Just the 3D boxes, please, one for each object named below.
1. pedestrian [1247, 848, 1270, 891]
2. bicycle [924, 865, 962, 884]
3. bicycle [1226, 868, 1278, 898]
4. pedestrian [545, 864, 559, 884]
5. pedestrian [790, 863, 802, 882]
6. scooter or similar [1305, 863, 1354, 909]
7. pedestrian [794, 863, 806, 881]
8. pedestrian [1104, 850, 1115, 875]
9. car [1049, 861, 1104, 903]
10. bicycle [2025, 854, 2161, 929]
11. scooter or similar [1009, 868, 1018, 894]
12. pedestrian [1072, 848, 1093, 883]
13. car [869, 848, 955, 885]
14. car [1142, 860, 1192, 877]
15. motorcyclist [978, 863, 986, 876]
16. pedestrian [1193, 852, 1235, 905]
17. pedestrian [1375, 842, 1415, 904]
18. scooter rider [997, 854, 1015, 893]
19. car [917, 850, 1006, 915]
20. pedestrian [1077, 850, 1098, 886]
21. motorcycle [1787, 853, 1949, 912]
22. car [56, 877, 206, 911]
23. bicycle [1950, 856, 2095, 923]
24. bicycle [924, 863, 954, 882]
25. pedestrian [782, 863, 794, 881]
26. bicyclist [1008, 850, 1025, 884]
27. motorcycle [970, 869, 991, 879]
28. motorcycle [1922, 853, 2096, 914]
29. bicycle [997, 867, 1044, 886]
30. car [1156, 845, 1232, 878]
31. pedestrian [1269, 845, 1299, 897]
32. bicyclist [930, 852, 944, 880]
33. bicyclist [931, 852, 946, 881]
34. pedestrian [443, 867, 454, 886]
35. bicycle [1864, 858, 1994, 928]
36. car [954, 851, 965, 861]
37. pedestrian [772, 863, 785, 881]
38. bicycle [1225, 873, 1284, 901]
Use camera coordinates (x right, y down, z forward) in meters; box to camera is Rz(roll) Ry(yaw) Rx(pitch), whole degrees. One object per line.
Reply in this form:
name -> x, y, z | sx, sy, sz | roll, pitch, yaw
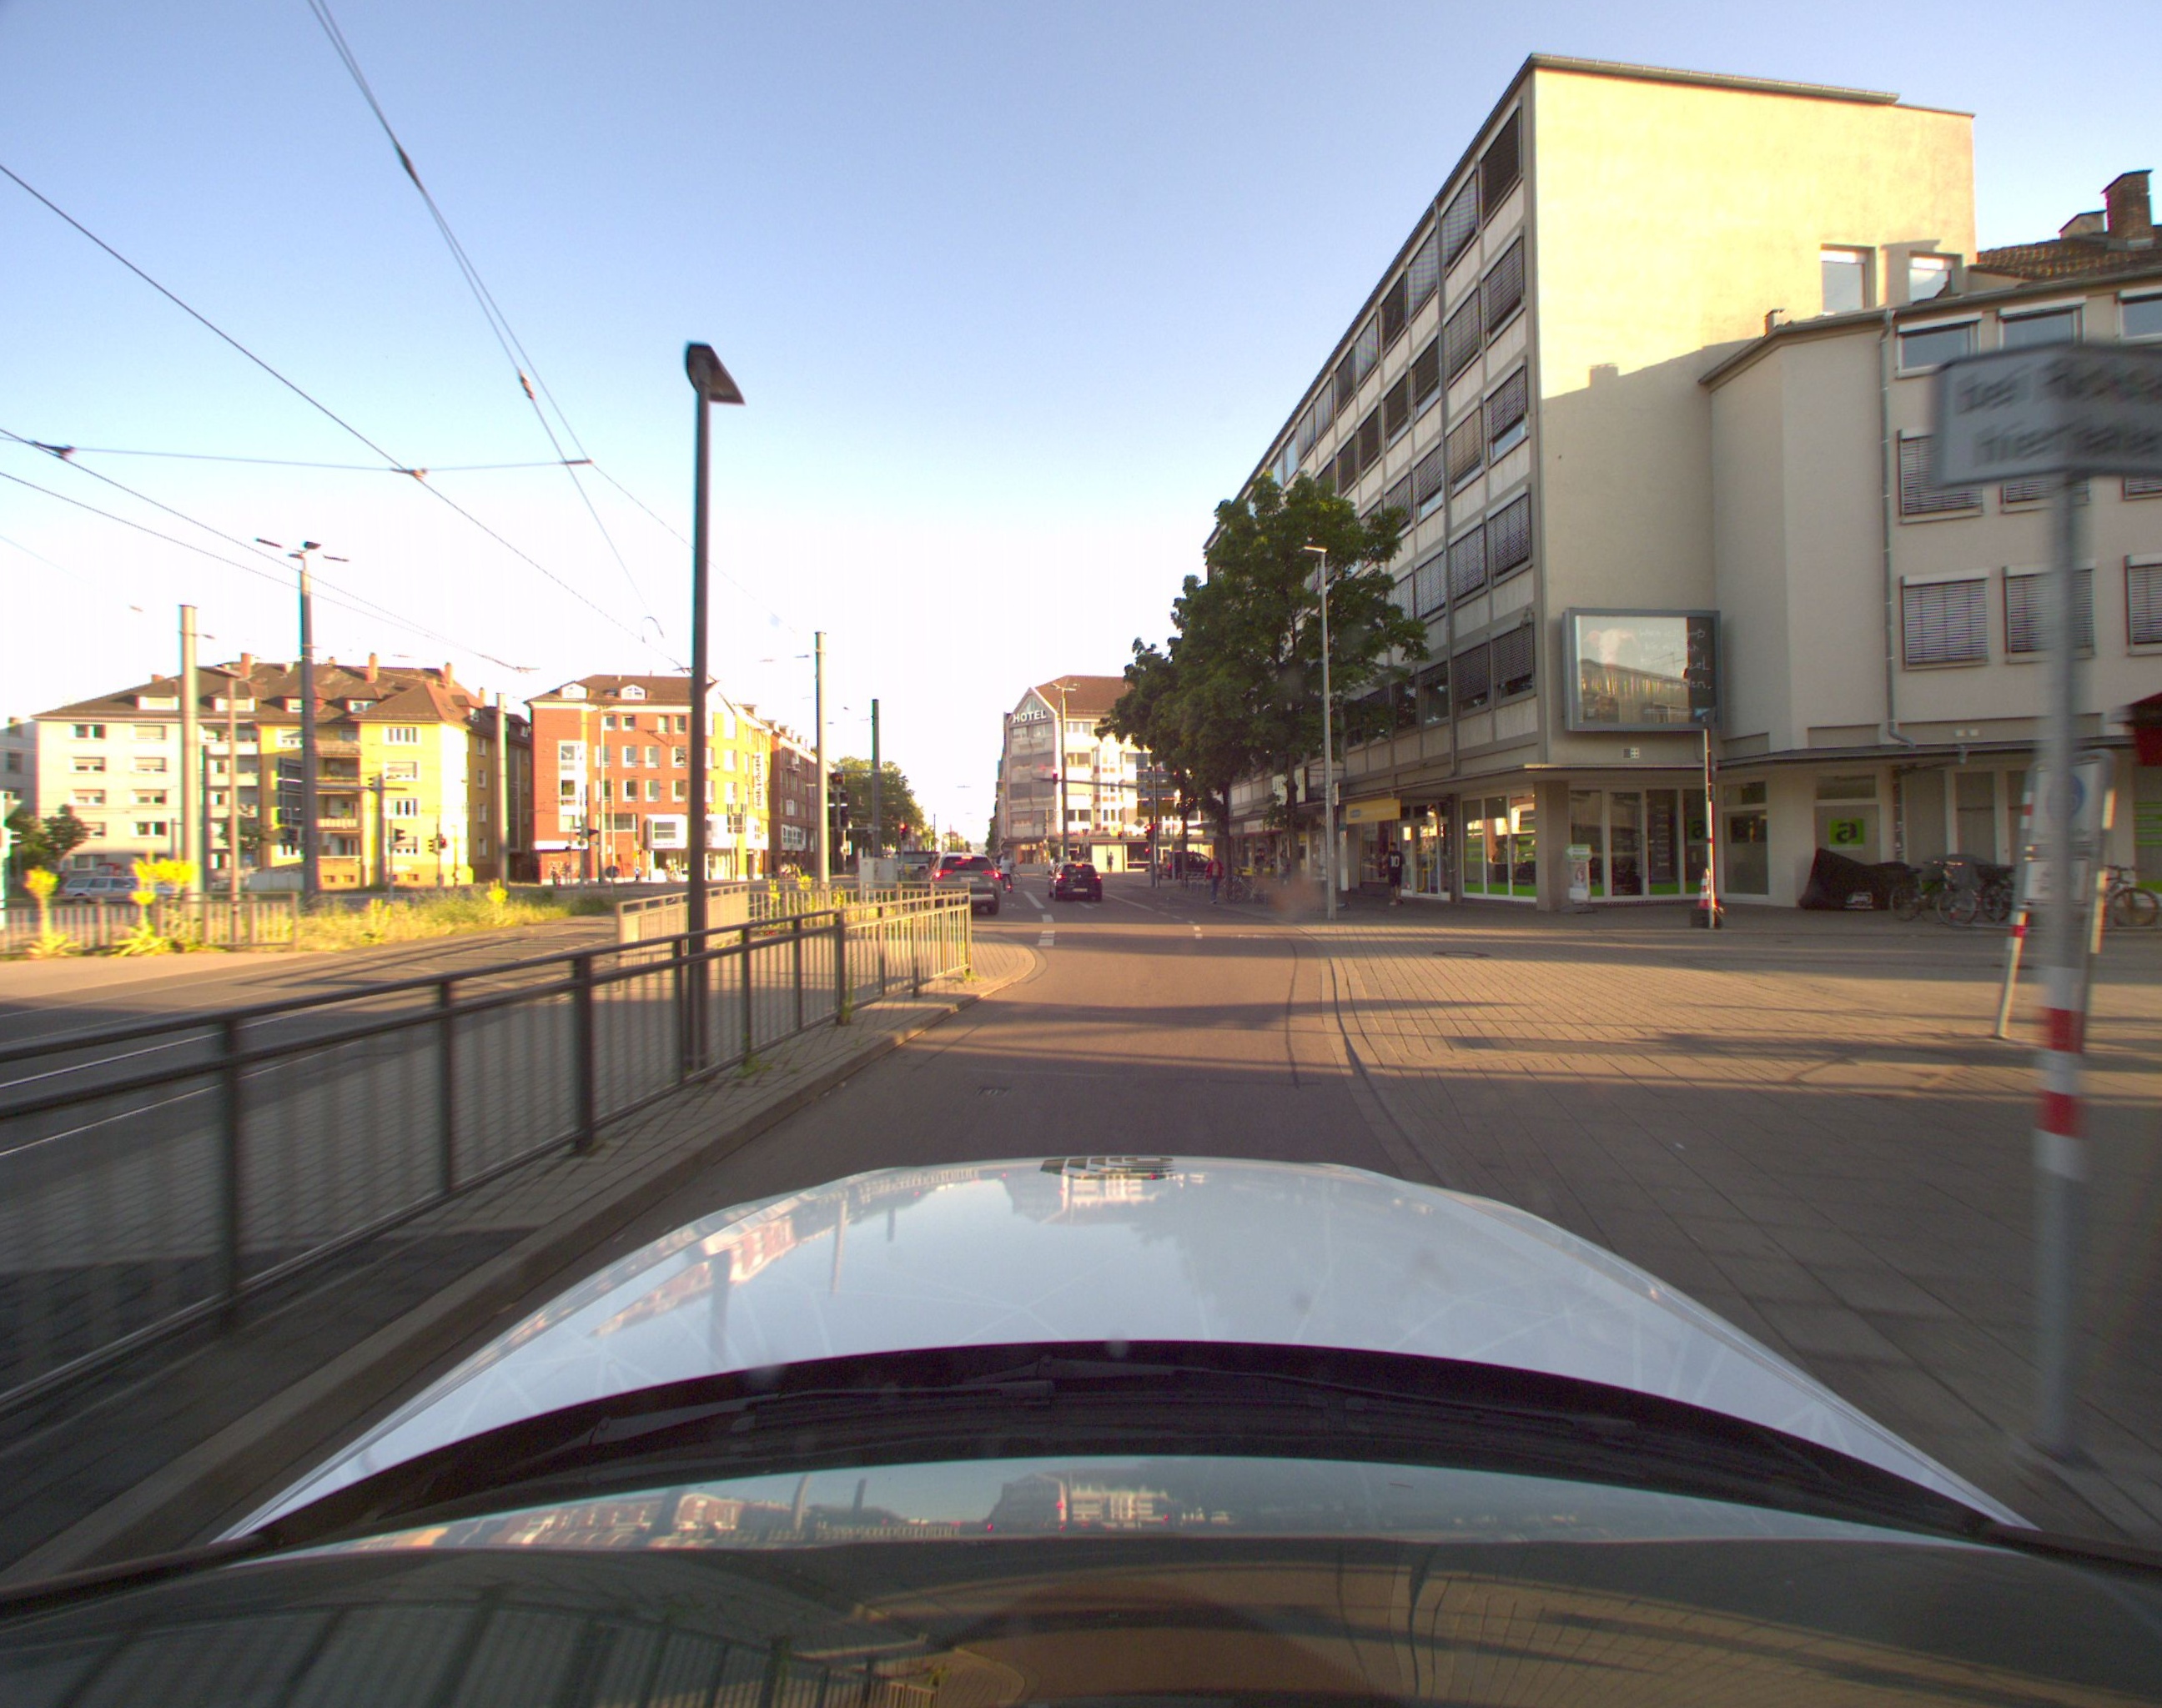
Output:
pedestrian -> 7.594, 0.662, 34.819 | 0.745, 1.778, 0.798 | 1, -1, -6
bicycle -> -7.568, 1.136, 44.677 | 2.038, 1.028, 0.415 | 0, -1, -13
bicycle -> 5.726, 0.962, 27.243 | 1.652, 0.974, 0.386 | 1, -1, 0
pedestrian -> -44.656, 1.687, 68.692 | 0.684, 1.743, 0.669 | -1, -2, 10
pedestrian -> -31.445, 2.033, 89.876 | 0.976, 2.014, 0.906 | 1, -1, -9
scooter or similar -> 6.663, 0.862, 21.872 | 1.205, 1.218, 0.296 | -3, -3, 39
pedestrian -> -32.426, 2.103, 94.055 | 1.093, 2.014, 1.159 | 1, -1, -9
pedestrian -> 2.084, 0.616, 59.393 | 0.745, 1.778, 0.799 | 1, -1, -5
car -> -0.234, 0.998, 30.495 | 1.761, 1.440, 3.993 | -1, 0, -5
bicycle -> 17.556, 0.607, 14.027 | 0.622, 1.112, 1.926 | 0, 3, 11
scooter or similar -> -2.924, 1.172, 35.191 | 0.278, 1.091, 1.256 | 1, -1, 0
pedestrian -> 0.076, 0.618, 42.780 | 0.993, 1.830, 0.727 | 1, -1, -7
car -> -10.077, 0.721, 48.479 | 4.702, 2.013, 1.985 | -1, 0, -22
car -> 8.409, 1.384, 80.026 | 4.552, 1.620, 1.991 | 0, -1, -10
motorcyclist -> -9.150, 1.432, 75.228 | 0.704, 1.220, 0.785 | 1, -1, -13
pedestrian -> 4.287, 0.778, 26.271 | 0.829, 1.685, 1.037 | 1, -1, -33
pedestrian -> 8.800, 0.535, 22.850 | 0.745, 1.684, 0.892 | 1, -1, -6
scooter rider -> -3.238, 0.848, 35.143 | 0.659, 1.647, 0.661 | 1, -1, 1
car -> -3.421, 0.739, 22.769 | 1.840, 1.636, 4.066 | 0, 0, -18
pedestrian -> 0.336, 0.710, 42.002 | 0.993, 1.830, 0.727 | 1, -1, -6
motorcycle -> 16.177, 0.594, 16.813 | 2.270, 1.168, 0.813 | -1, -1, 15
car -> -46.222, 1.927, 39.752 | 4.345, 1.551, 1.990 | 0, -1, -15
bicycle -> 16.604, 0.603, 14.435 | 0.622, 1.113, 1.925 | 0, -1, 11
bicycle -> -7.935, 1.035, 45.376 | 1.613, 1.028, 0.352 | -1, -1, -14
pedestrian -> -32.772, 2.037, 91.096 | 1.093, 2.014, 0.906 | 1, -1, -9
bicyclist -> -3.678, 0.743, 46.627 | 0.861, 1.878, 0.643 | 1, -1, -14
motorcycle -> -9.281, 1.844, 75.141 | 1.834, 0.908, 0.430 | 1, -1, -12
motorcycle -> 18.453, 0.587, 16.259 | 2.250, 1.158, 0.742 | -1, 0, 15
bicycle -> -3.482, 1.297, 46.641 | 2.643, 1.100, 0.433 | 1, -1, -13
car -> 7.450, 0.476, 53.851 | 4.574, 2.037, 1.987 | -1, 0, -19
pedestrian -> 7.016, 0.593, 28.193 | 0.745, 1.778, 0.971 | 1, -1, -5
bicyclist -> -8.029, 0.672, 45.378 | 0.704, 1.511, 0.548 | -3, 0, -13
bicyclist -> -7.815, 0.691, 44.604 | 0.705, 1.511, 0.547 | -3, 0, -13
pedestrian -> -55.636, 1.961, 71.598 | 0.550, 1.642, 0.499 | 1, -1, -8
bicycle -> 15.308, 0.668, 14.779 | 0.579, 1.112, 2.013 | -1, 1, 11
car -> -26.024, 0.443, 174.717 | 1.991, 1.901, 3.992 | 1, -1, -6
pedestrian -> -33.255, 2.000, 89.529 | 1.093, 2.014, 0.906 | 1, -1, -9
bicycle -> 5.592, 1.056, 26.268 | 1.812, 0.891, 0.415 | 1, -1, 0
